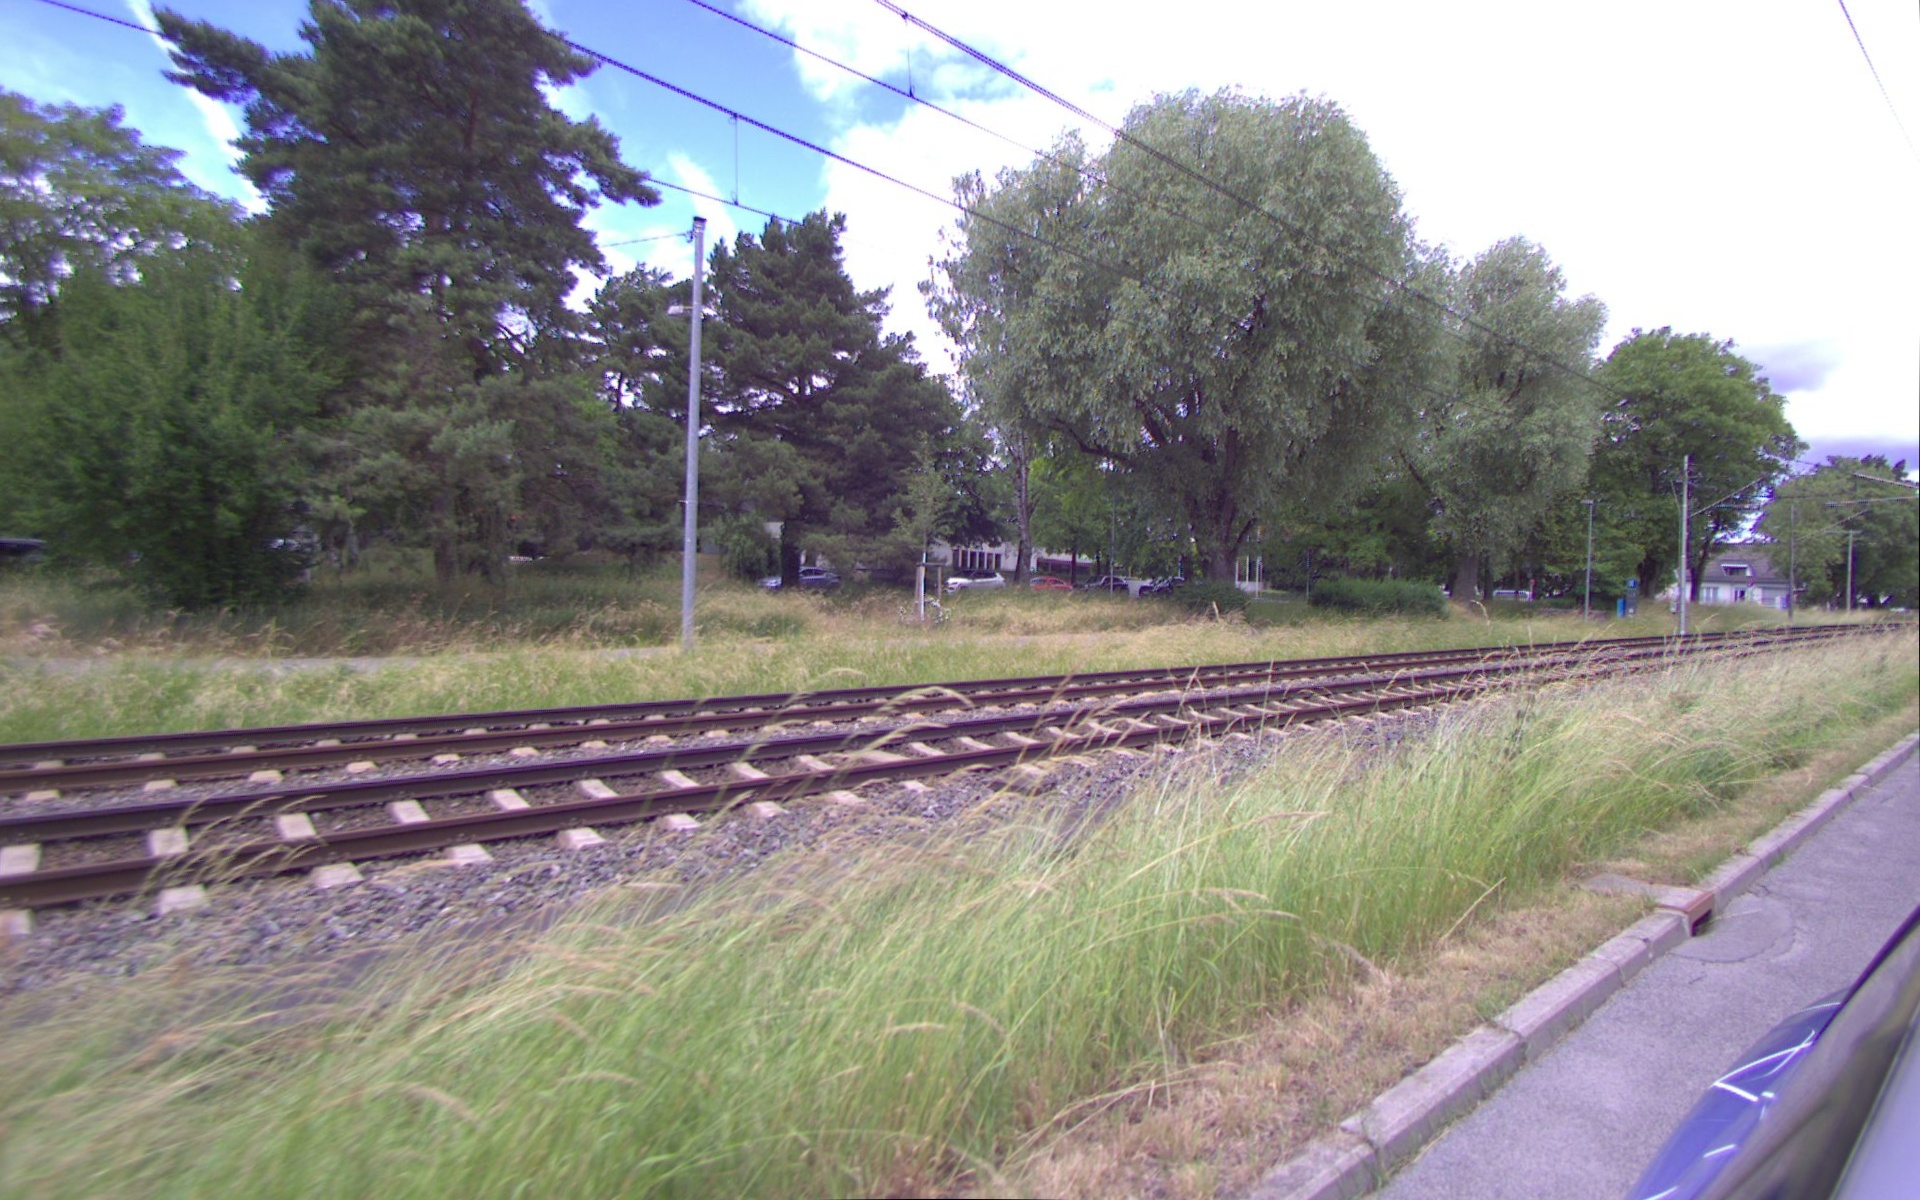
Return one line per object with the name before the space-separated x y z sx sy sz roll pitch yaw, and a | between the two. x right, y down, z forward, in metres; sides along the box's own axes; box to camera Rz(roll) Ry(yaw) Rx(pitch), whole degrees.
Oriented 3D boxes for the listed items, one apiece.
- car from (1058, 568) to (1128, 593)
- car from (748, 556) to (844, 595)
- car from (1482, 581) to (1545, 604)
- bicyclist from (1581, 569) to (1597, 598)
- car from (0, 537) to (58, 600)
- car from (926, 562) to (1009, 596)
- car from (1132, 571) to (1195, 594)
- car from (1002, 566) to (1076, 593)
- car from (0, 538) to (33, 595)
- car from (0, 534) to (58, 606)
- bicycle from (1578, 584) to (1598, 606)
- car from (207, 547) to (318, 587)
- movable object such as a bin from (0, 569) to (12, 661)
car | 7.940 -1.150 60.220 3.930 1.460 1.997 0 1 -41
car | -7.564 -1.097 46.864 3.928 1.721 1.998 0 0 -39
car | 47.963 -0.638 87.790 4.667 1.884 1.900 2 1 27
bicyclist | 37.774 -0.986 60.807 0.920 1.717 0.581 0 1 -44
car | -28.615 -0.912 28.951 1.739 1.826 3.947 1 1 36
car | 0.446 -1.081 53.838 4.154 1.721 1.997 0 0 -40
car | 13.054 -1.127 64.794 3.930 1.460 1.997 0 1 -41
car | 4.491 -1.159 57.300 3.930 1.460 1.997 0 1 -41
car | -32.785 -1.103 32.543 1.978 1.835 3.968 1 1 24
car | -25.507 -0.780 25.452 1.739 1.826 3.947 1 1 36
bicycle | 37.706 -0.309 60.750 1.897 1.261 0.581 0 1 -44
car | -31.595 -1.460 45.931 1.811 1.755 3.784 1 1 24
movable object such as a bin | -14.632 0.217 14.445 1.612 1.326 0.660 1 1 1
